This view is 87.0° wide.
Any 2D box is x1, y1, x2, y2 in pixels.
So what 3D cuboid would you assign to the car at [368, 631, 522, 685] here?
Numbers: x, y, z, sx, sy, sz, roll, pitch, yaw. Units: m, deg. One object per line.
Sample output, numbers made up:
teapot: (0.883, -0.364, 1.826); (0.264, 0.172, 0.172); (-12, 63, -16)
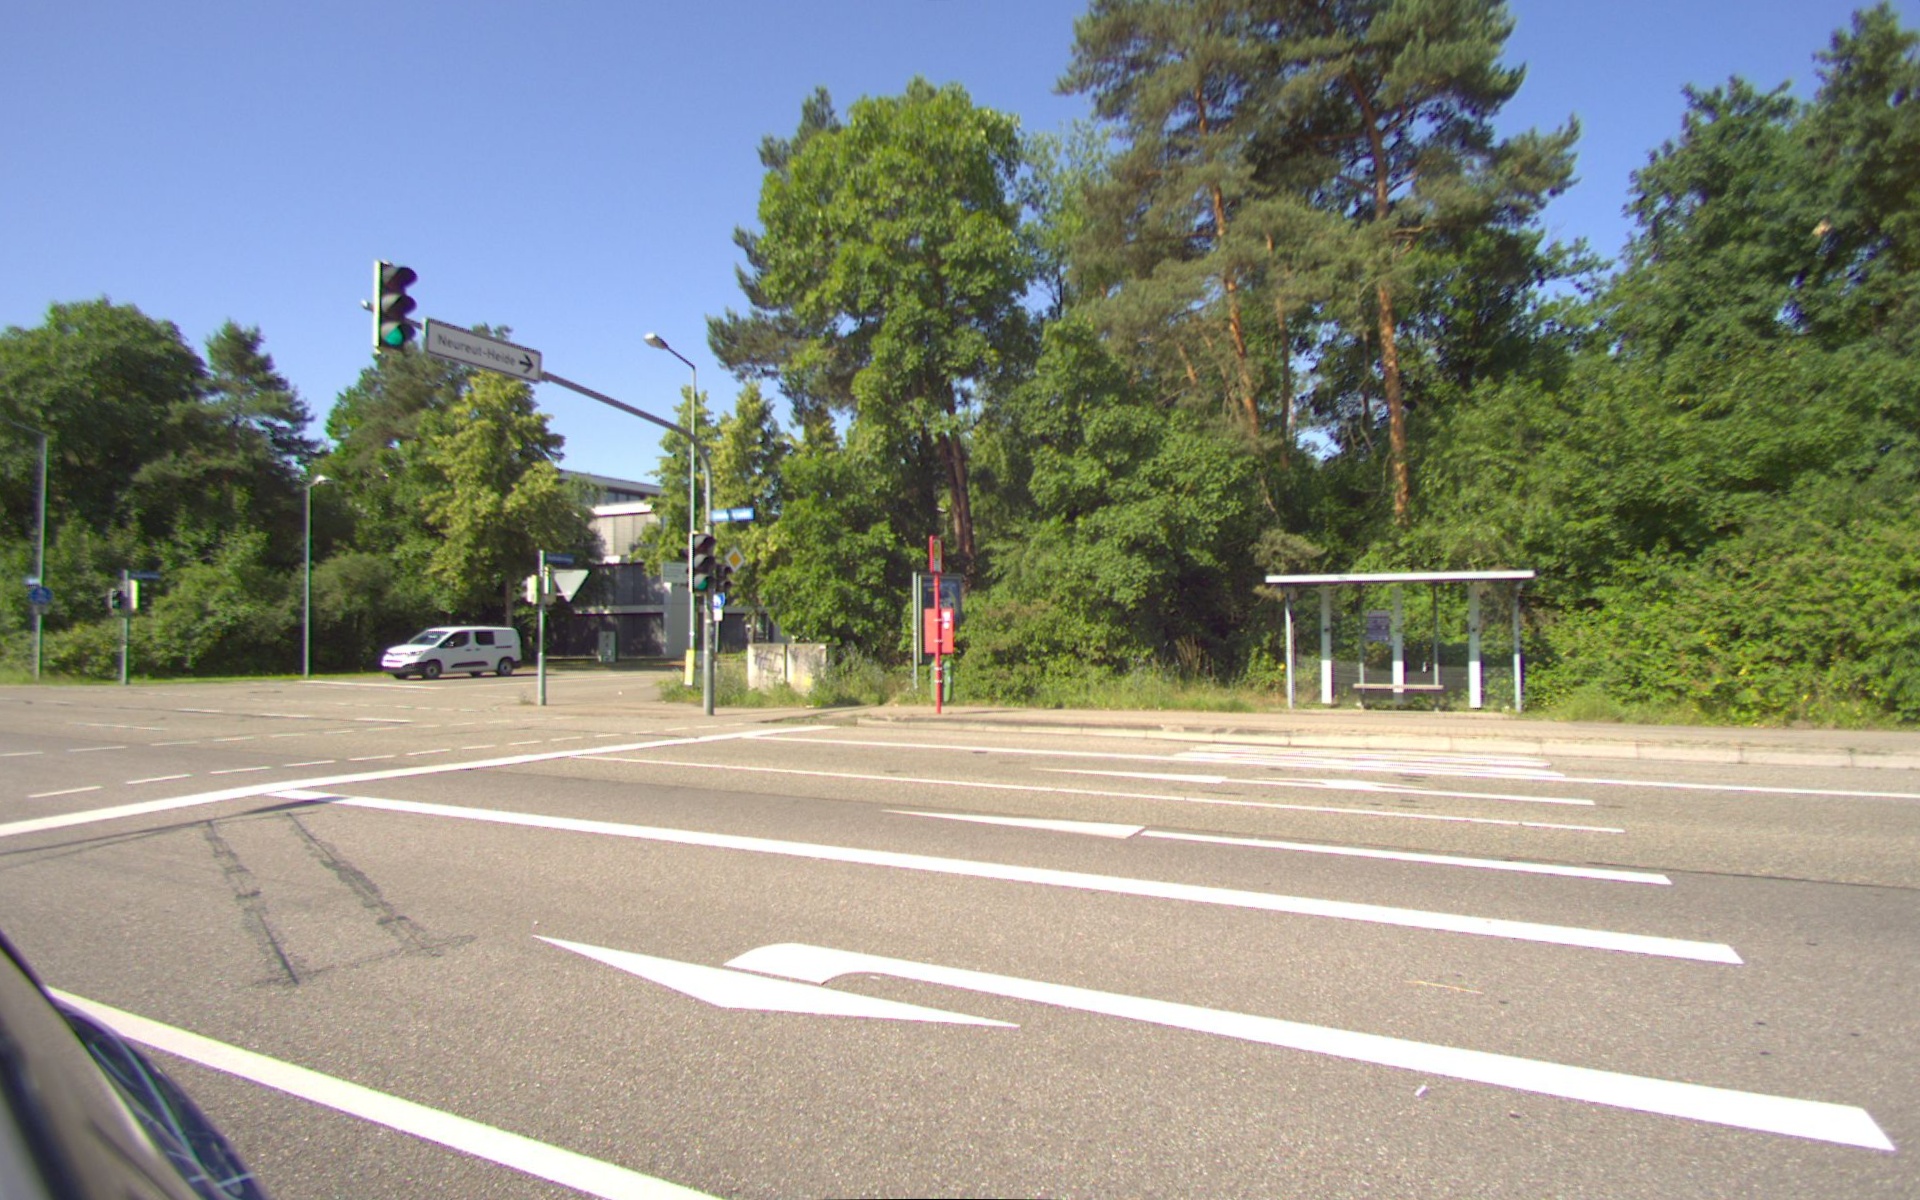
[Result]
car: (-18.043, 2.005, 35.710); (1.843, 1.791, 4.619); (-1, -3, 26)
